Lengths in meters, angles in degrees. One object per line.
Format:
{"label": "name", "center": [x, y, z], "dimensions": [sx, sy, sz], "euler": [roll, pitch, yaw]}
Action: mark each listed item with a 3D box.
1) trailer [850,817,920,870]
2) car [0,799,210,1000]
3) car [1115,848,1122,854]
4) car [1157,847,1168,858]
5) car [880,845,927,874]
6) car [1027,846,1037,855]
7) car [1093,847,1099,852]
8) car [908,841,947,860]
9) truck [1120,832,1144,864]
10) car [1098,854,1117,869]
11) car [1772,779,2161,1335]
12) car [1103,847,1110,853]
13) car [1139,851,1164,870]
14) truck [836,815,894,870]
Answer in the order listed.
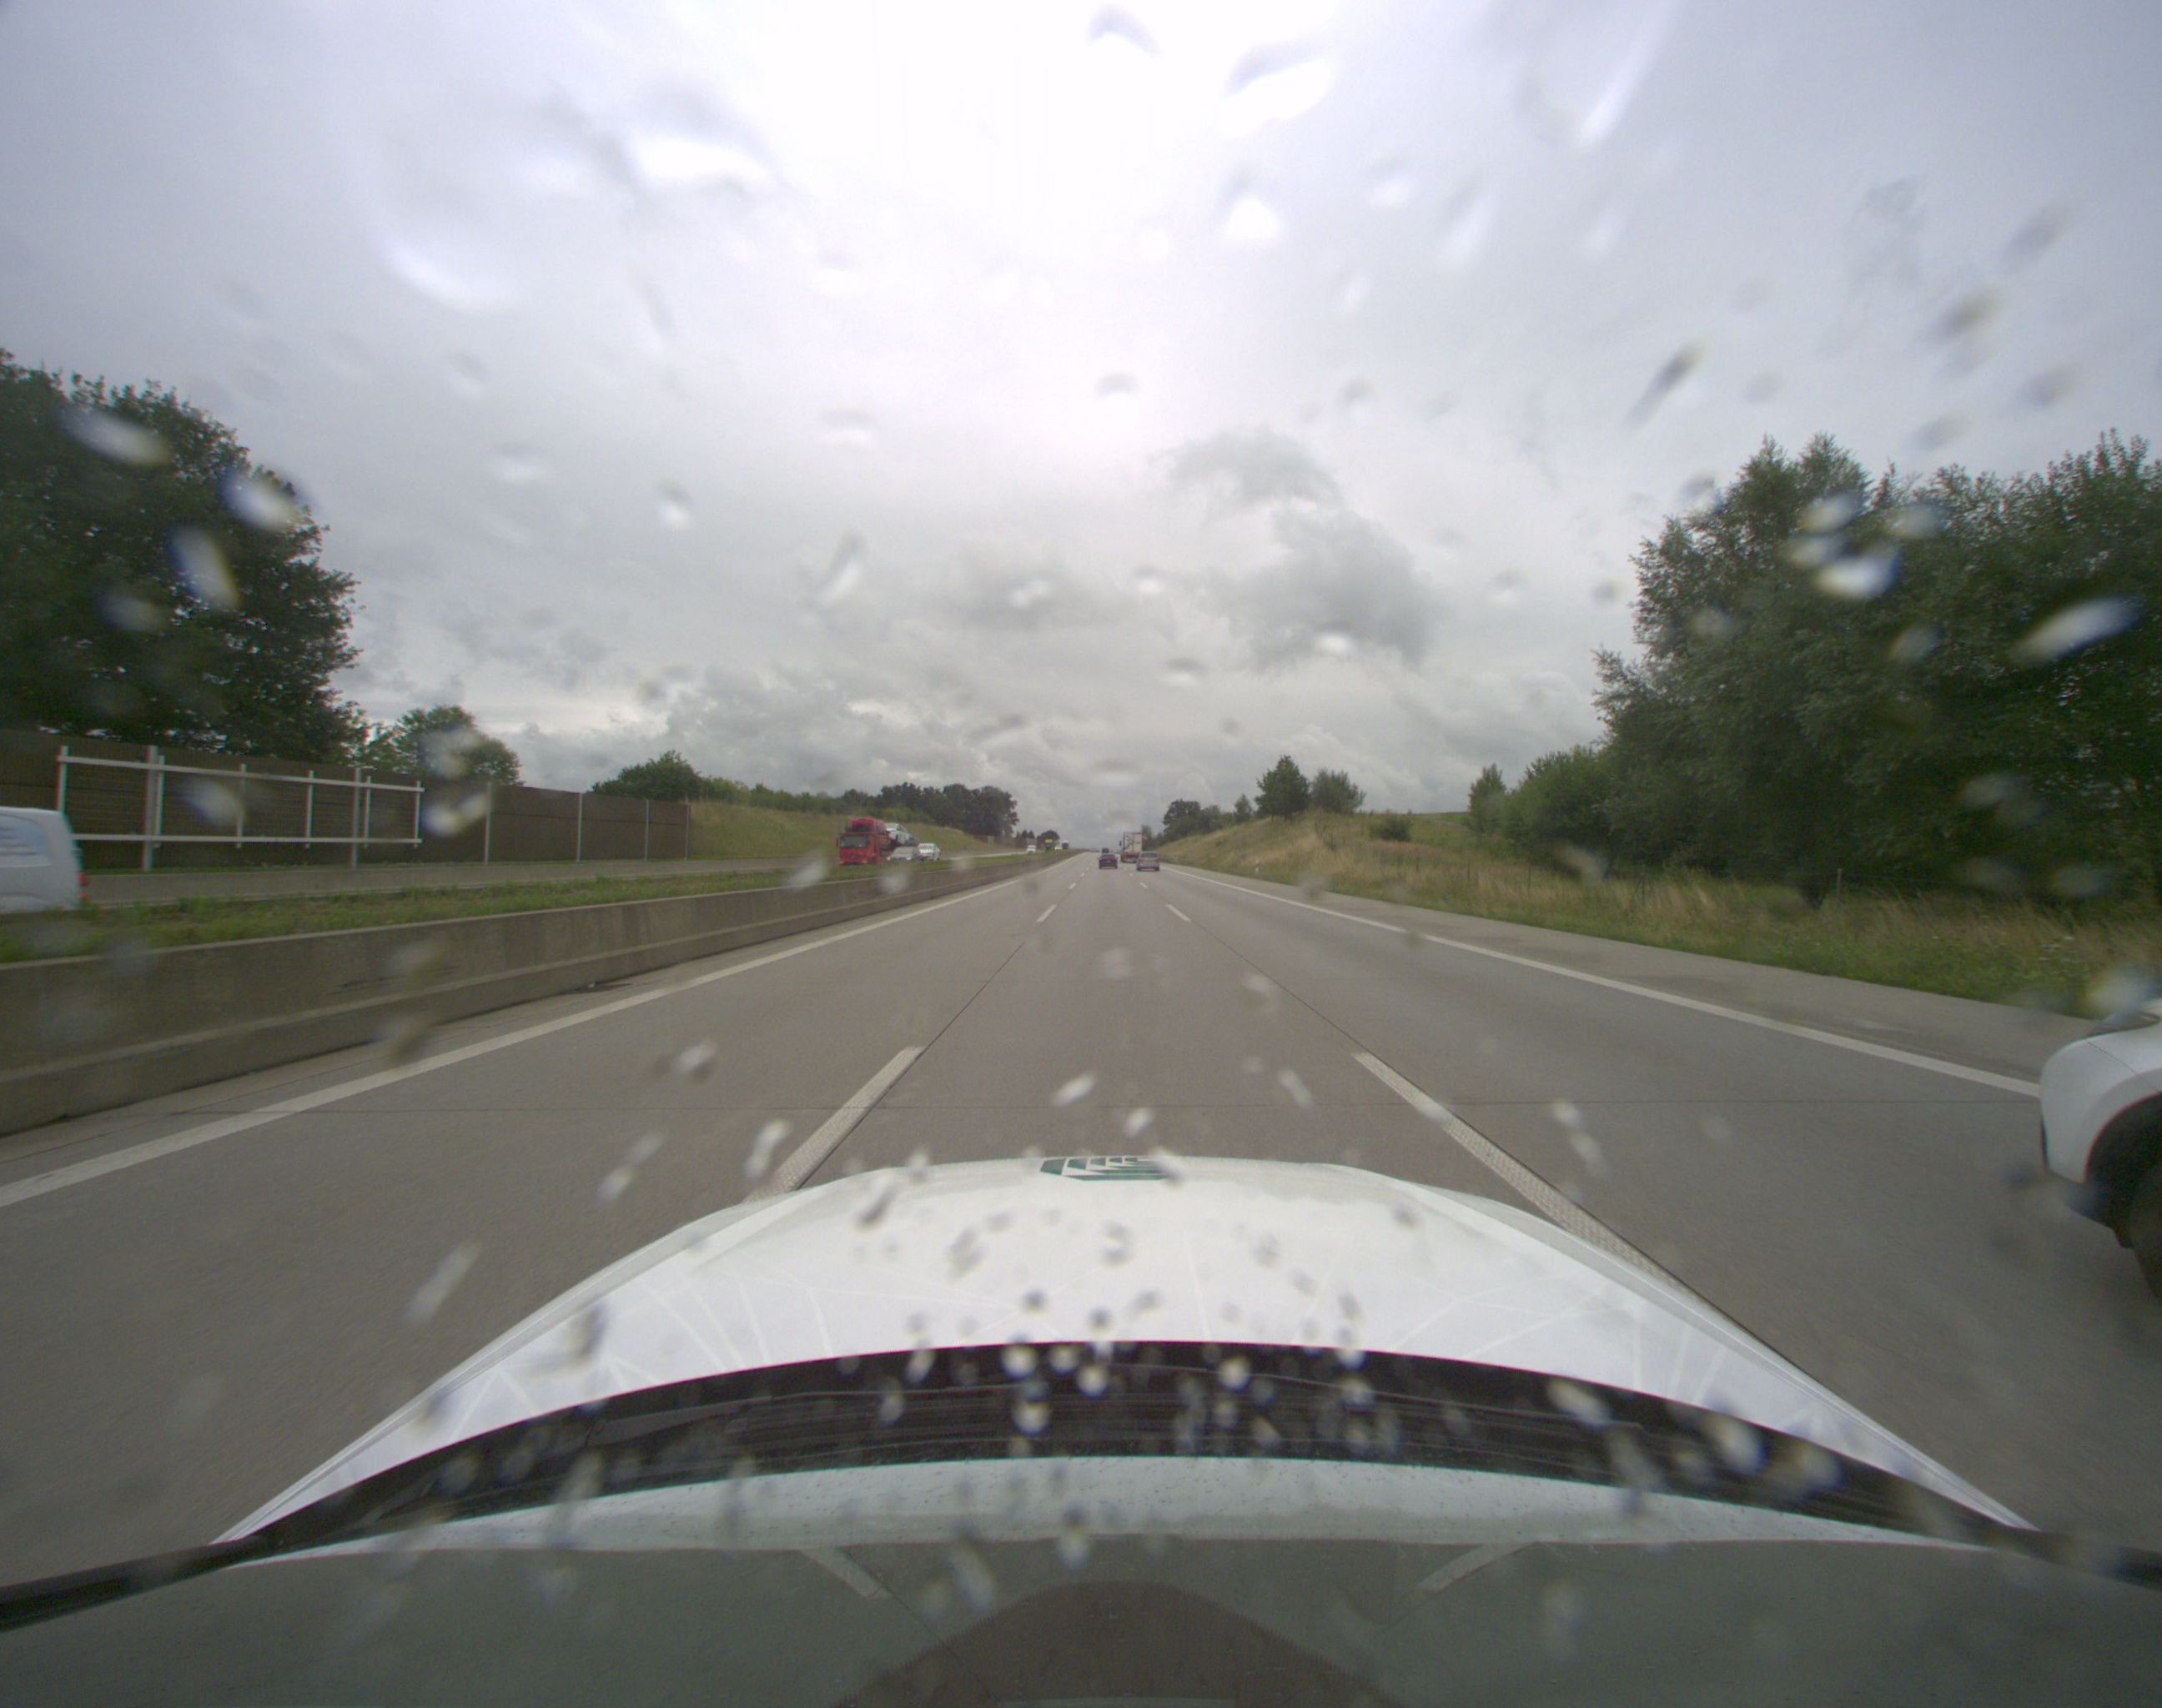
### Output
{"label": "trailer", "center": [-17.291, -0.832, 73.068], "dimensions": [2.543, 4.218, 13.991], "euler": [0, 0, 1]}
{"label": "car", "center": [-11.165, 0.428, 6.698], "dimensions": [1.986, 1.886, 5.514], "euler": [0, 0, 1]}
{"label": "car", "center": [11.169, -0.977, 242.442], "dimensions": [1.985, 1.640, 4.004], "euler": [0, -1, 4]}
{"label": "car", "center": [15.085, -0.209, 151.369], "dimensions": [1.985, 2.014, 4.004], "euler": [0, -1, 4]}
{"label": "car", "center": [-13.229, 0.395, 61.123], "dimensions": [2.141, 2.013, 5.750], "euler": [0, 0, 1]}
{"label": "car", "center": [-10.161, -0.810, 170.296], "dimensions": [1.755, 1.860, 4.001], "euler": [0, 0, 1]}
{"label": "car", "center": [4.696, -1.373, 255.790], "dimensions": [1.939, 1.356, 4.263], "euler": [0, 0, 3]}
{"label": "car", "center": [-13.019, -0.345, 69.346], "dimensions": [2.141, 1.551, 5.351], "euler": [0, 1, 1]}
{"label": "truck", "center": [6.897, -0.733, 110.797], "dimensions": [3.006, 4.180, 8.357], "euler": [0, -1, 2]}
{"label": "car", "center": [2.512, 0.751, 77.239], "dimensions": [1.746, 1.398, 4.484], "euler": [0, -1, 1]}
{"label": "car", "center": [4.117, 0.604, 1.824], "dimensions": [1.819, 1.655, 3.986], "euler": [0, 0, 1]}
{"label": "car", "center": [6.670, -1.025, 212.381], "dimensions": [1.927, 1.375, 4.597], "euler": [0, -2, 3]}
{"label": "car", "center": [5.903, 0.554, 68.476], "dimensions": [1.985, 1.530, 4.004], "euler": [0, 0, 4]}
{"label": "truck", "center": [-17.426, -0.869, 66.198], "dimensions": [2.543, 4.252, 7.465], "euler": [0, 0, 1]}
